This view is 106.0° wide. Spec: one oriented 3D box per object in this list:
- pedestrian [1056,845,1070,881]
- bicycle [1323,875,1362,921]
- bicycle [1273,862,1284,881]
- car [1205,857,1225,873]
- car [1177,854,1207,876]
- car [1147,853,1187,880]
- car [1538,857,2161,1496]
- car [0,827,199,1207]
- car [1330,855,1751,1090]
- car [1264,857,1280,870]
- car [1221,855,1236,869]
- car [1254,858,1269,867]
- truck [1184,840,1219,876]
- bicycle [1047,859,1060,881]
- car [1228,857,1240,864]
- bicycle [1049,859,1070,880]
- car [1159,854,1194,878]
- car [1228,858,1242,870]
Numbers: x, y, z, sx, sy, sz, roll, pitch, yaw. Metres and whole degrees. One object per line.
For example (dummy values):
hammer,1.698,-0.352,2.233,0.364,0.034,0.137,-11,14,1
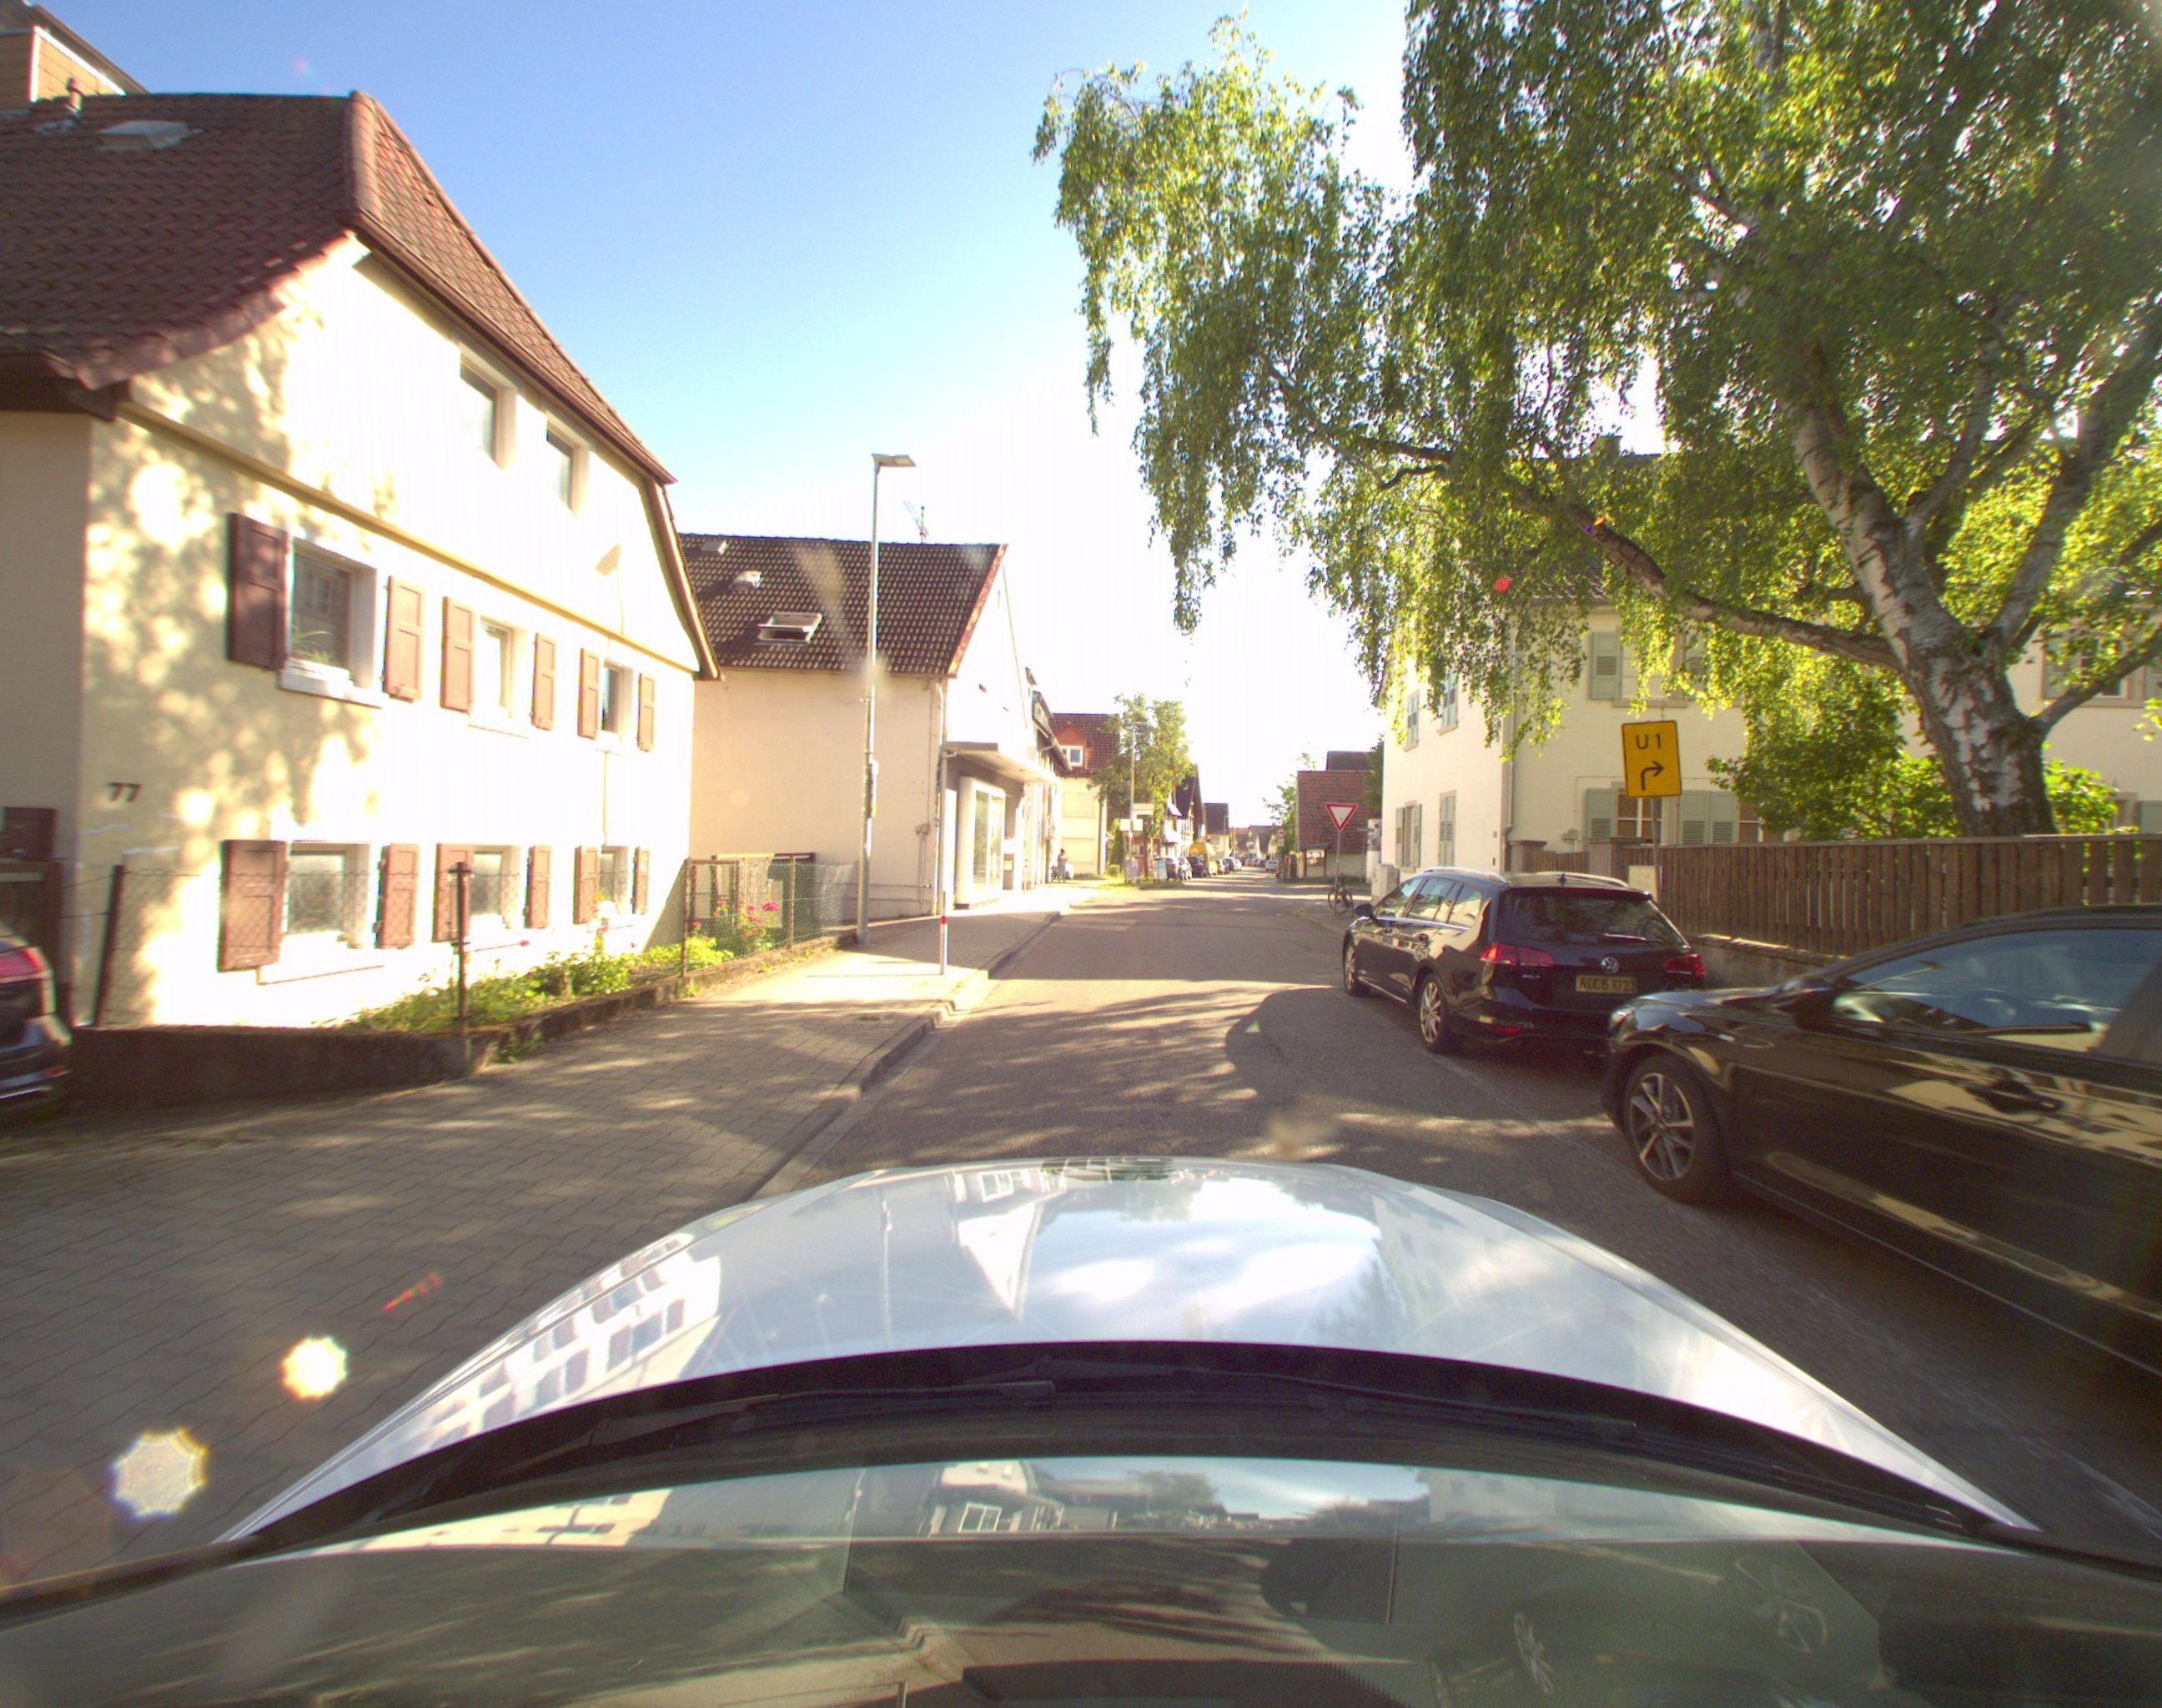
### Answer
pedestrian,-0.861,0.426,39.014,0.480,1.693,0.558,2,-2,9
bicycle,6.778,1.112,21.166,0.433,1.080,1.890,1,0,1
bicycle,12.316,1.092,50.765,0.429,1.176,1.838,1,0,22
car,12.743,1.072,77.391,1.635,1.432,3.626,2,0,11
car,8.649,0.870,63.295,1.793,1.622,3.895,2,-1,14
car,5.365,0.773,50.326,1.854,1.506,4.123,1,-1,14
car,3.443,0.789,2.465,1.800,1.436,4.288,2,1,2
car,-6.246,0.659,2.873,4.146,1.462,1.848,-1,0,-1
car,3.681,0.781,7.532,1.798,1.436,4.293,2,1,6
car,26.518,1.271,113.147,1.960,1.714,4.007,2,0,11
car,16.312,0.874,90.009,1.578,1.442,3.626,2,0,11
car,34.439,1.583,155.289,1.967,1.583,3.994,2,0,0
truck,10.183,0.353,68.601,2.252,2.868,5.804,2,-1,14
bicycle,-1.307,0.761,38.887,0.421,1.052,1.383,1,-1,6
car,34.141,1.465,181.591,1.967,1.583,3.994,2,0,0
bicycle,-1.120,0.798,42.305,0.574,1.052,2.043,1,-1,13
car,6.442,0.807,54.602,1.793,1.506,4.123,2,-1,14
car,18.415,1.187,97.265,1.578,1.442,3.626,2,0,11
